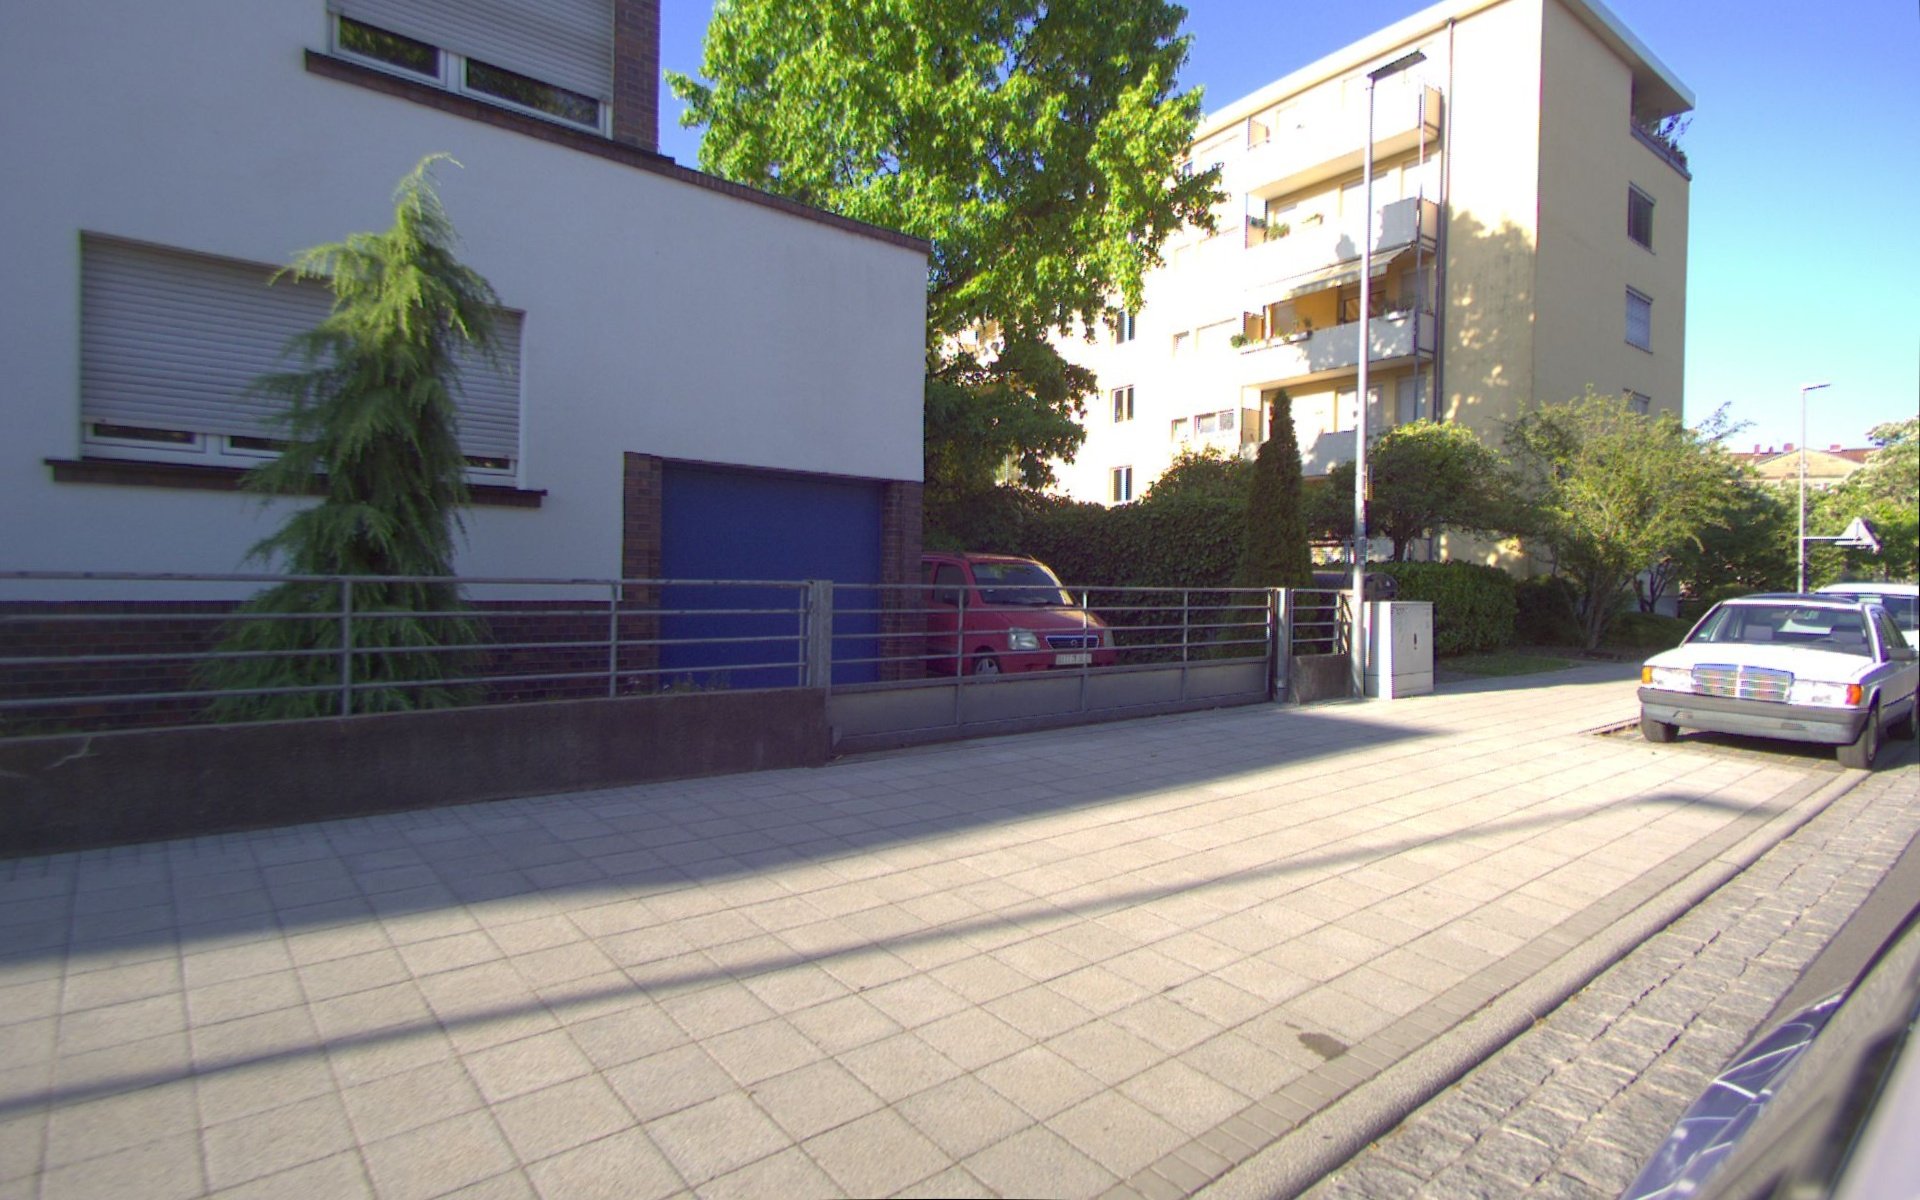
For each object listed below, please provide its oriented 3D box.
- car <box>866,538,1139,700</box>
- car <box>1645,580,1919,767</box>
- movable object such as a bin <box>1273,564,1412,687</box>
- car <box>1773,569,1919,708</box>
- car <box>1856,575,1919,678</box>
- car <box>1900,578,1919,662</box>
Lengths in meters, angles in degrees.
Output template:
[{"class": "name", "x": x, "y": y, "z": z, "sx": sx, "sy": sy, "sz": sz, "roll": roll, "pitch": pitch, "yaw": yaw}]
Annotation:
[{"class": "car", "x": 0.374, "y": 0.156, "z": 12.282, "sx": 1.611, "sy": 1.662, "sz": 3.507, "roll": 0, "pitch": 1, "yaw": -32}, {"class": "car", "x": 8.359, "y": 0.566, "z": 9.934, "sx": 4.297, "sy": 1.407, "sz": 1.567, "roll": 0, "pitch": 3, "yaw": -40}, {"class": "movable object such as a bin", "x": 4.785, "y": 0.284, "z": 12.694, "sx": 1.102, "sy": 1.450, "sz": 1.240, "roll": 0, "pitch": 1, "yaw": -38}, {"class": "car", "x": 12.432, "y": 0.438, "z": 13.465, "sx": 4.056, "sy": 1.574, "sz": 1.683, "roll": 0, "pitch": 3, "yaw": -39}, {"class": "car", "x": 16.635, "y": 0.435, "z": 17.099, "sx": 4.072, "sy": 1.574, "sz": 1.682, "roll": 0, "pitch": 3, "yaw": -41}, {"class": "car", "x": 20.677, "y": 0.441, "z": 20.663, "sx": 4.096, "sy": 1.630, "sz": 1.714, "roll": 0, "pitch": 3, "yaw": -42}]
